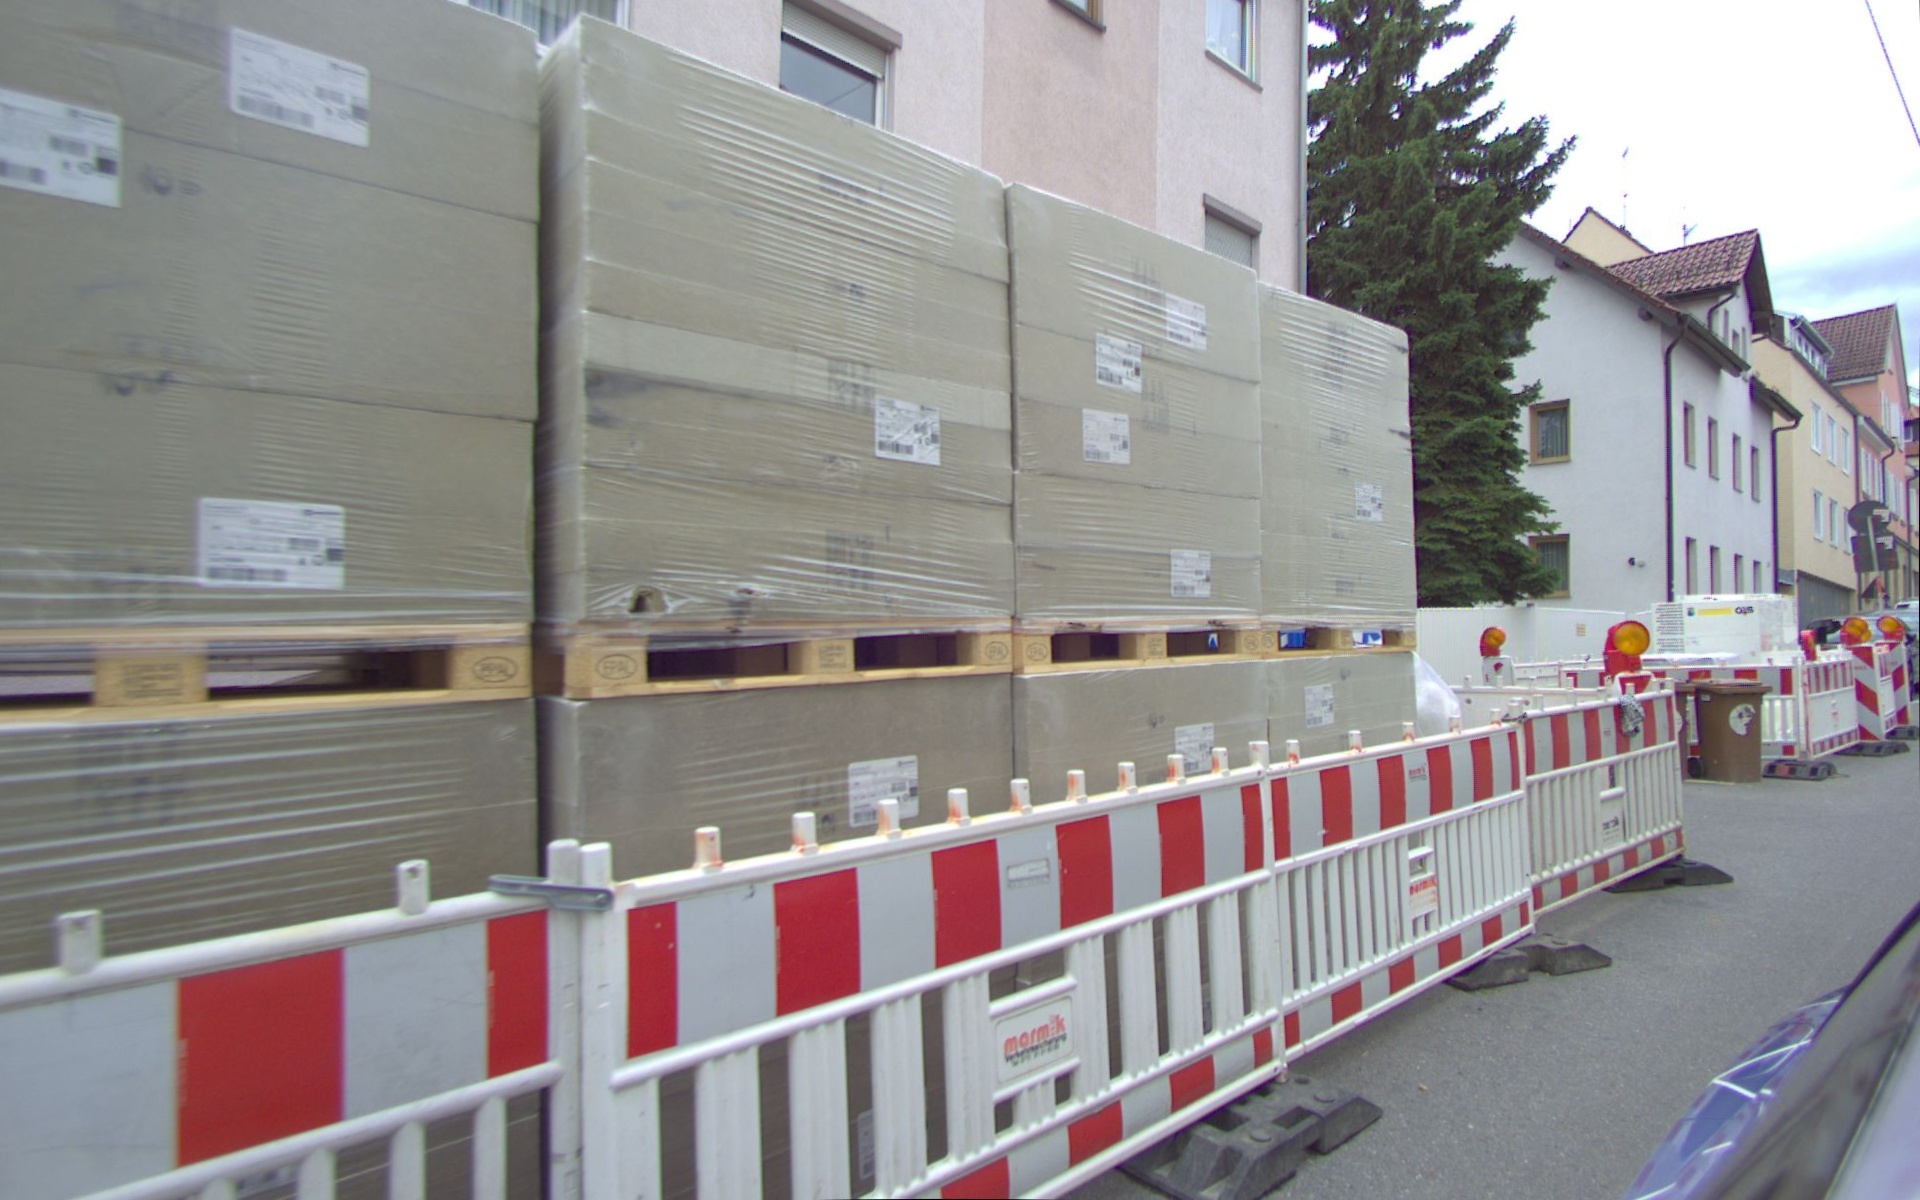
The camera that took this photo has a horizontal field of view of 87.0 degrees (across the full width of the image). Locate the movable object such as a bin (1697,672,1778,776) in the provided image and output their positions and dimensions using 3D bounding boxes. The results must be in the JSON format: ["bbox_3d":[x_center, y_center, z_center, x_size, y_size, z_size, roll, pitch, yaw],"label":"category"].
[{"bbox_3d":[7.078,1.117,9.229,0.356,0.904,0.401,-1,-3,-3],"label":"movable object such as a bin"}]

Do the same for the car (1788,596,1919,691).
[{"bbox_3d":[17.018,0.796,18.848,4.000,1.586,1.717,1,-4,-40],"label":"car"}]

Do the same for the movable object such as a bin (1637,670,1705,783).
[{"bbox_3d":[6.616,1.163,9.426,0.445,0.990,0.397,1,-2,26],"label":"movable object such as a bin"}]

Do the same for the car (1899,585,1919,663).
[{"bbox_3d":[28.055,0.647,28.335,5.632,2.056,1.908,1,-4,-41],"label":"car"}]

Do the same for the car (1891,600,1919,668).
[{"bbox_3d":[24.224,0.814,24.994,2.742,1.617,1.488,1,-4,-42],"label":"car"}]

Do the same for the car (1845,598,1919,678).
[{"bbox_3d":[20.997,0.813,22.261,4.421,1.617,1.715,1,-4,-42],"label":"car"}]
